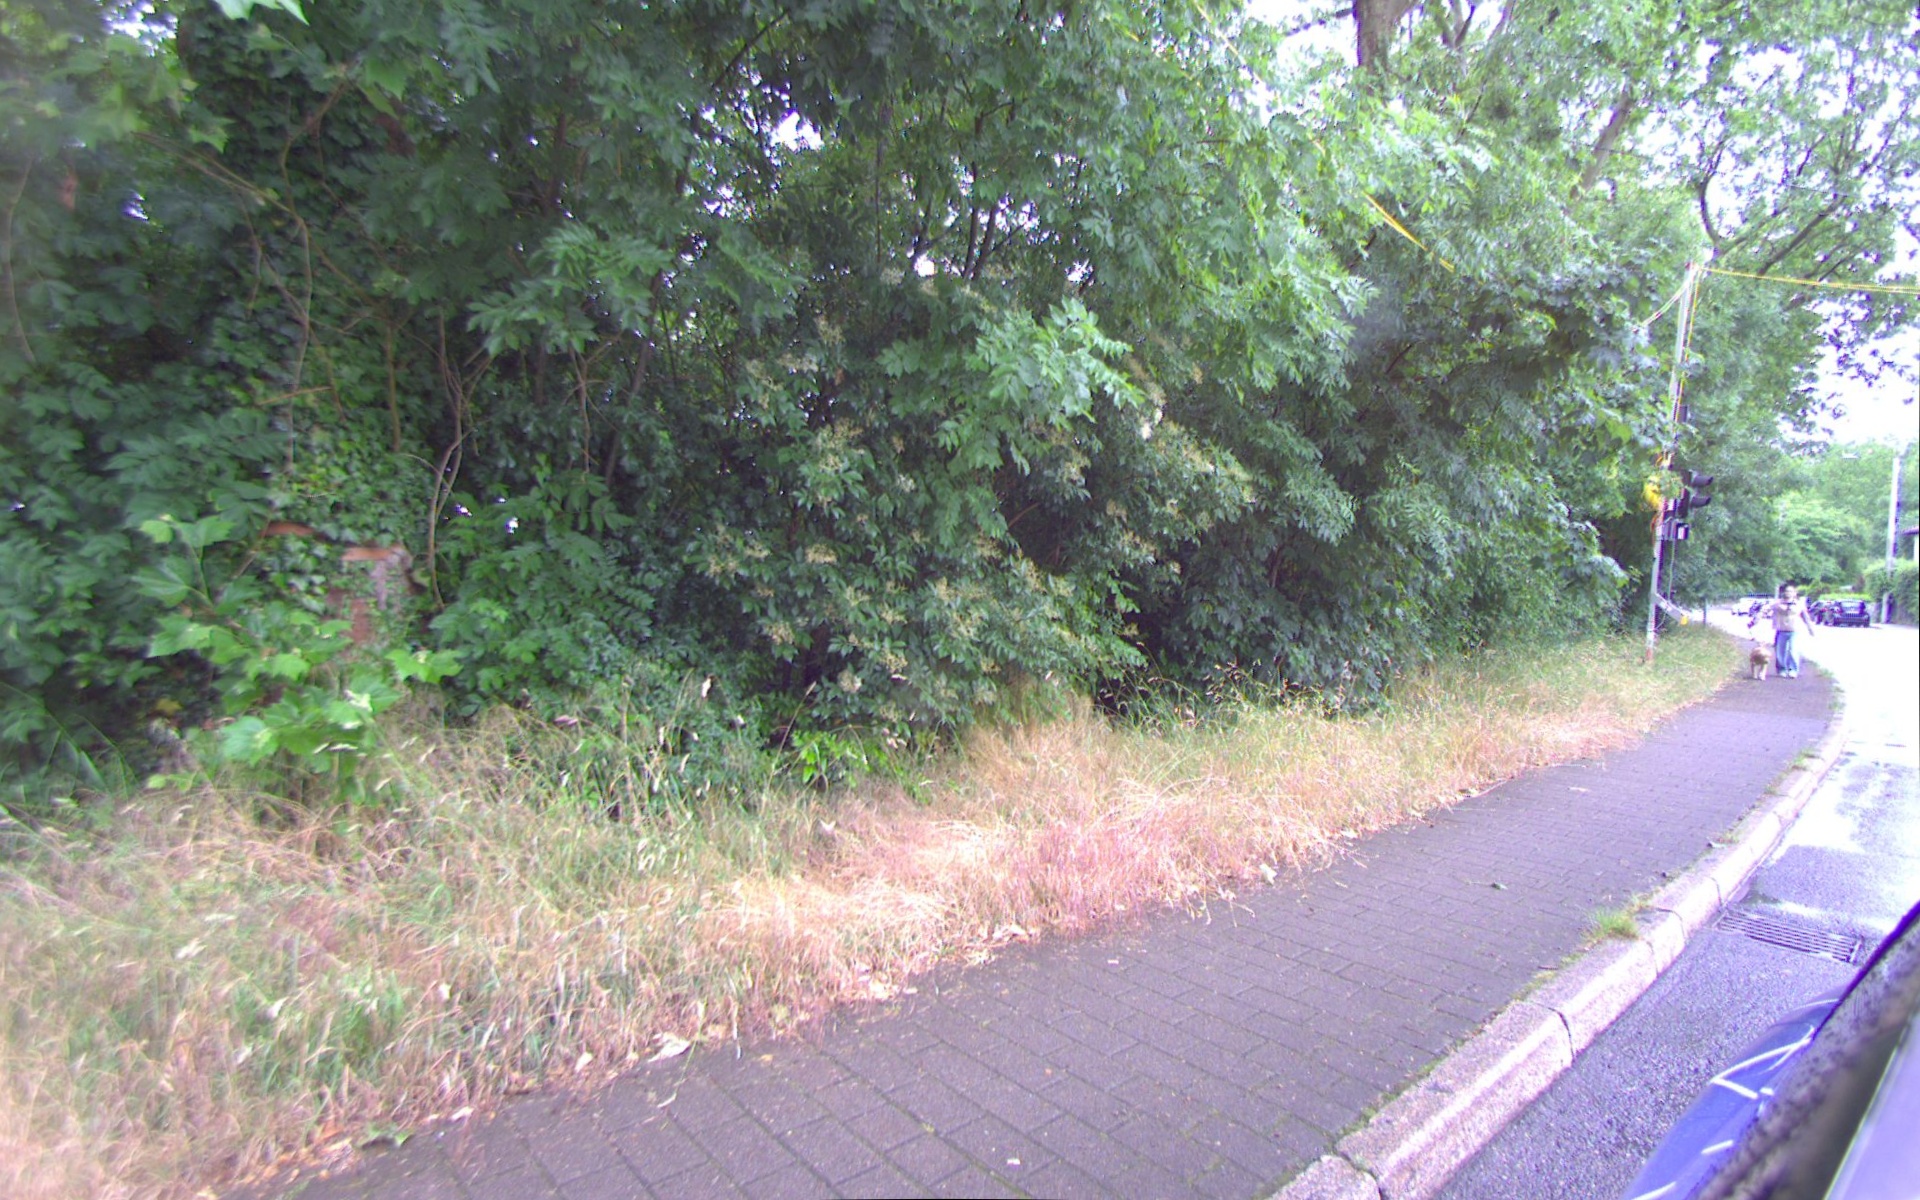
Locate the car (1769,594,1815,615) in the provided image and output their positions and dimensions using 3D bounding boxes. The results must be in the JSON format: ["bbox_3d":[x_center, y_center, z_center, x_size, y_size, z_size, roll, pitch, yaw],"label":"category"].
[{"bbox_3d":[60.747,0.294,73.920,2.055,1.504,4.508,1,1,33],"label":"car"}]

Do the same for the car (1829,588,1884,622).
[{"bbox_3d":[51.059,0.279,57.708,1.869,1.848,4.075,1,1,35],"label":"car"}]

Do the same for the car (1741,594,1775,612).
[{"bbox_3d":[64.941,0.216,82.372,1.676,1.445,3.734,1,1,31],"label":"car"}]

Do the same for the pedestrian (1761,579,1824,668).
[{"bbox_3d":[14.554,0.400,17.691,0.771,1.518,0.734,0,-1,-42],"label":"pedestrian"}]
